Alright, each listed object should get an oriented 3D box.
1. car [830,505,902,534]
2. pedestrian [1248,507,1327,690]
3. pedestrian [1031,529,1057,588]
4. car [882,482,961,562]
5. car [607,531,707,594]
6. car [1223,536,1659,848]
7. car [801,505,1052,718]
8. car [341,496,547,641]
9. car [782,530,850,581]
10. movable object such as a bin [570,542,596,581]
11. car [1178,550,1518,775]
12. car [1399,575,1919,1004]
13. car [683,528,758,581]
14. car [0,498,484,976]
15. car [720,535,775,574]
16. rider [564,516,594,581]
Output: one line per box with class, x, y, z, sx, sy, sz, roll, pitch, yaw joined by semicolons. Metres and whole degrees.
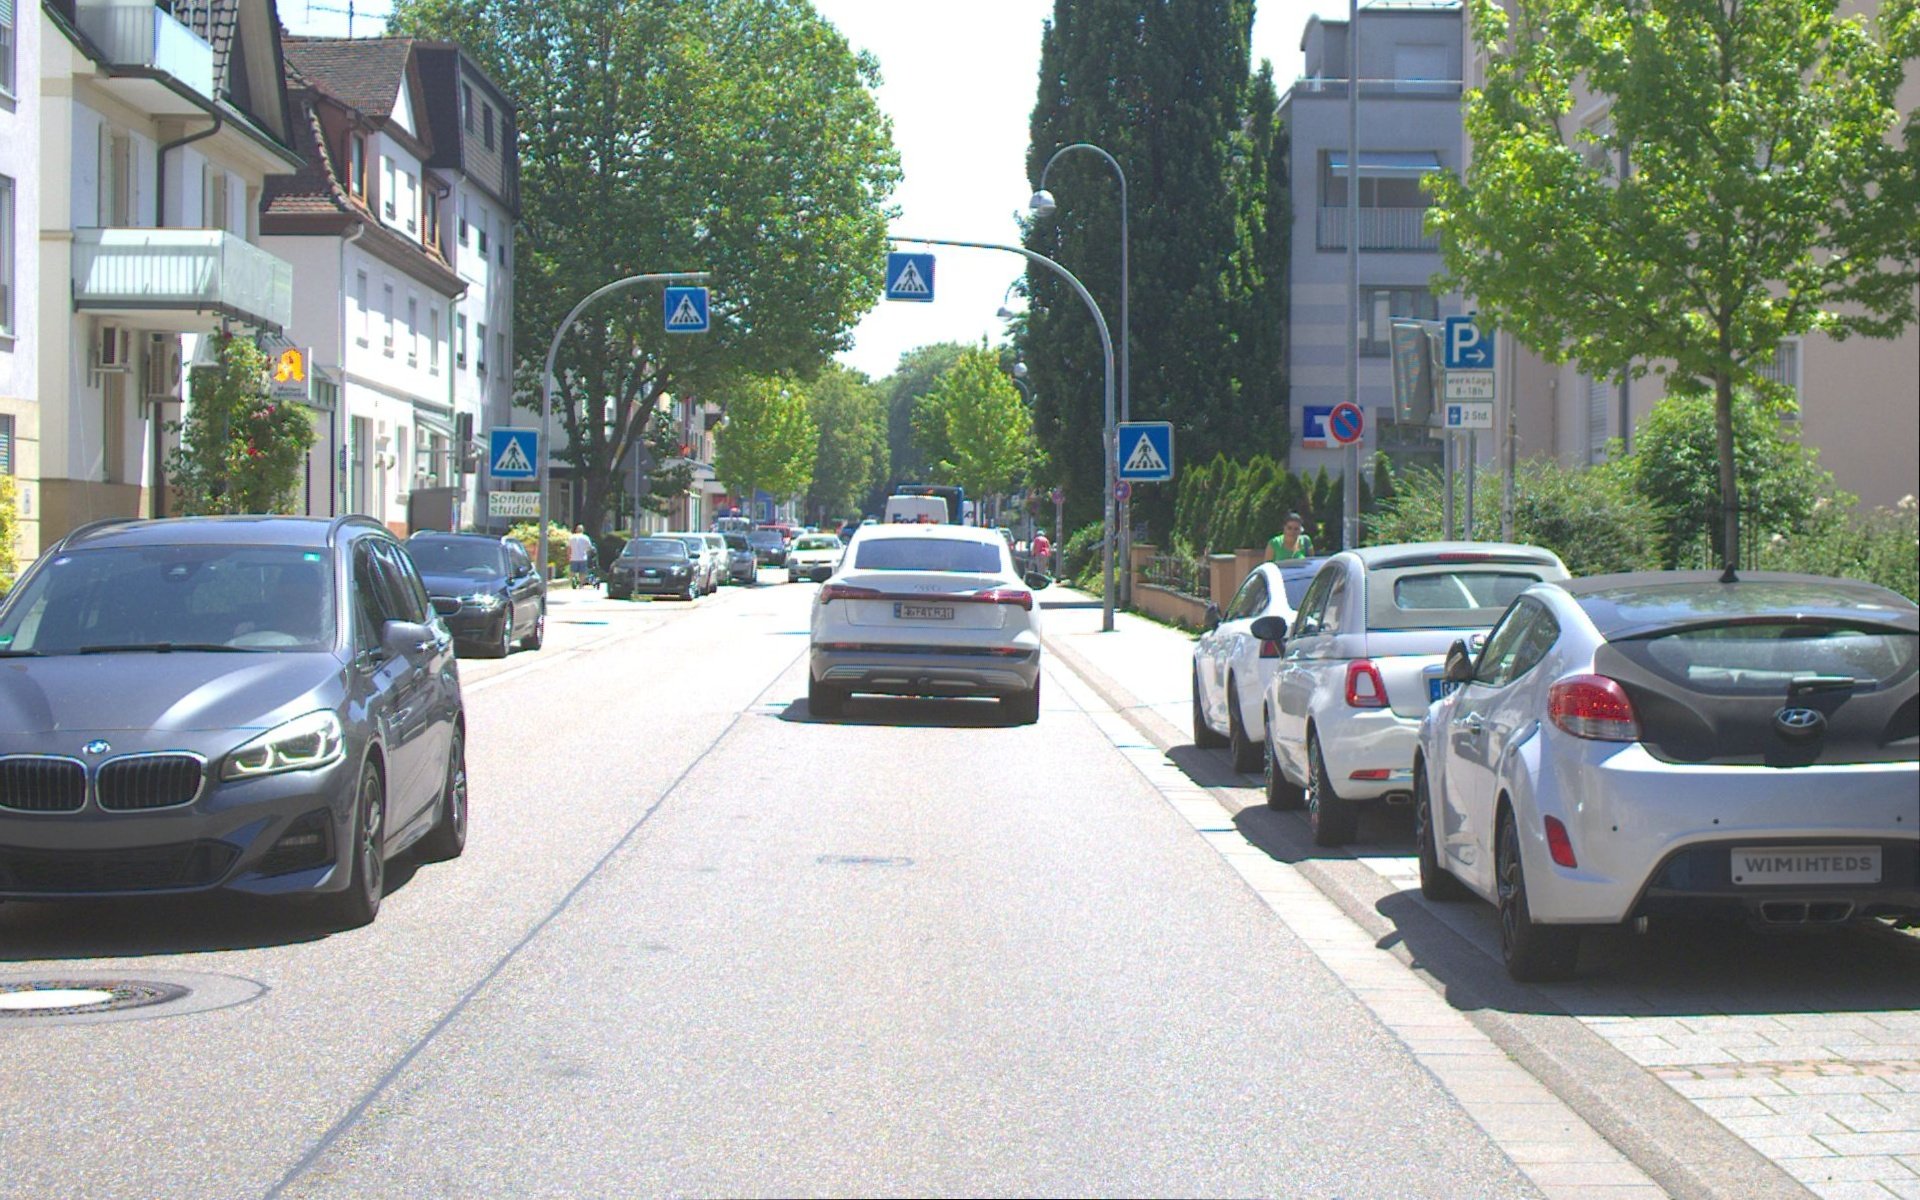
car;-5.495;-4.707;201.476;3.988;1.645;2.000;1;1;7
pedestrian;3.165;-0.019;33.280;0.637;1.752;0.617;0;1;-5
pedestrian;2.458;-1.217;100.502;0.693;1.730;0.668;0;0;-5
car;-1.134;-2.219;99.040;2.069;2.189;5.139;1;1;-2
car;-6.751;-0.849;76.889;1.993;1.345;4.000;0;1;-2
car;2.494;0.415;18.801;1.658;1.483;4.346;-1;1;-1
car;-0.278;0.060;29.864;1.936;1.609;4.472;3;1;0
car;-6.428;-0.411;43.282;1.926;1.714;4.472;0;1;0
car;-4.358;-1.358;104.393;1.978;1.515;4.000;0;1;-2
movable object such as a bin;-9.235;-0.949;84.213;0.587;0.949;0.566;1;1;-1
car;2.563;0.361;23.670;1.726;1.378;4.402;-1;1;-1
car;2.791;0.599;13.135;1.862;1.368;4.000;0;1;2
car;-6.986;-1.339;100.569;1.993;1.515;4.000;0;1;-2
car;-3.207;0.447;14.245;1.974;1.665;4.472;0;1;-2
car;-8.363;-1.807;135.498;1.993;1.515;4.000;0;1;-2
rider;-9.263;-1.252;83.589;0.661;1.548;0.661;1;1;-1
